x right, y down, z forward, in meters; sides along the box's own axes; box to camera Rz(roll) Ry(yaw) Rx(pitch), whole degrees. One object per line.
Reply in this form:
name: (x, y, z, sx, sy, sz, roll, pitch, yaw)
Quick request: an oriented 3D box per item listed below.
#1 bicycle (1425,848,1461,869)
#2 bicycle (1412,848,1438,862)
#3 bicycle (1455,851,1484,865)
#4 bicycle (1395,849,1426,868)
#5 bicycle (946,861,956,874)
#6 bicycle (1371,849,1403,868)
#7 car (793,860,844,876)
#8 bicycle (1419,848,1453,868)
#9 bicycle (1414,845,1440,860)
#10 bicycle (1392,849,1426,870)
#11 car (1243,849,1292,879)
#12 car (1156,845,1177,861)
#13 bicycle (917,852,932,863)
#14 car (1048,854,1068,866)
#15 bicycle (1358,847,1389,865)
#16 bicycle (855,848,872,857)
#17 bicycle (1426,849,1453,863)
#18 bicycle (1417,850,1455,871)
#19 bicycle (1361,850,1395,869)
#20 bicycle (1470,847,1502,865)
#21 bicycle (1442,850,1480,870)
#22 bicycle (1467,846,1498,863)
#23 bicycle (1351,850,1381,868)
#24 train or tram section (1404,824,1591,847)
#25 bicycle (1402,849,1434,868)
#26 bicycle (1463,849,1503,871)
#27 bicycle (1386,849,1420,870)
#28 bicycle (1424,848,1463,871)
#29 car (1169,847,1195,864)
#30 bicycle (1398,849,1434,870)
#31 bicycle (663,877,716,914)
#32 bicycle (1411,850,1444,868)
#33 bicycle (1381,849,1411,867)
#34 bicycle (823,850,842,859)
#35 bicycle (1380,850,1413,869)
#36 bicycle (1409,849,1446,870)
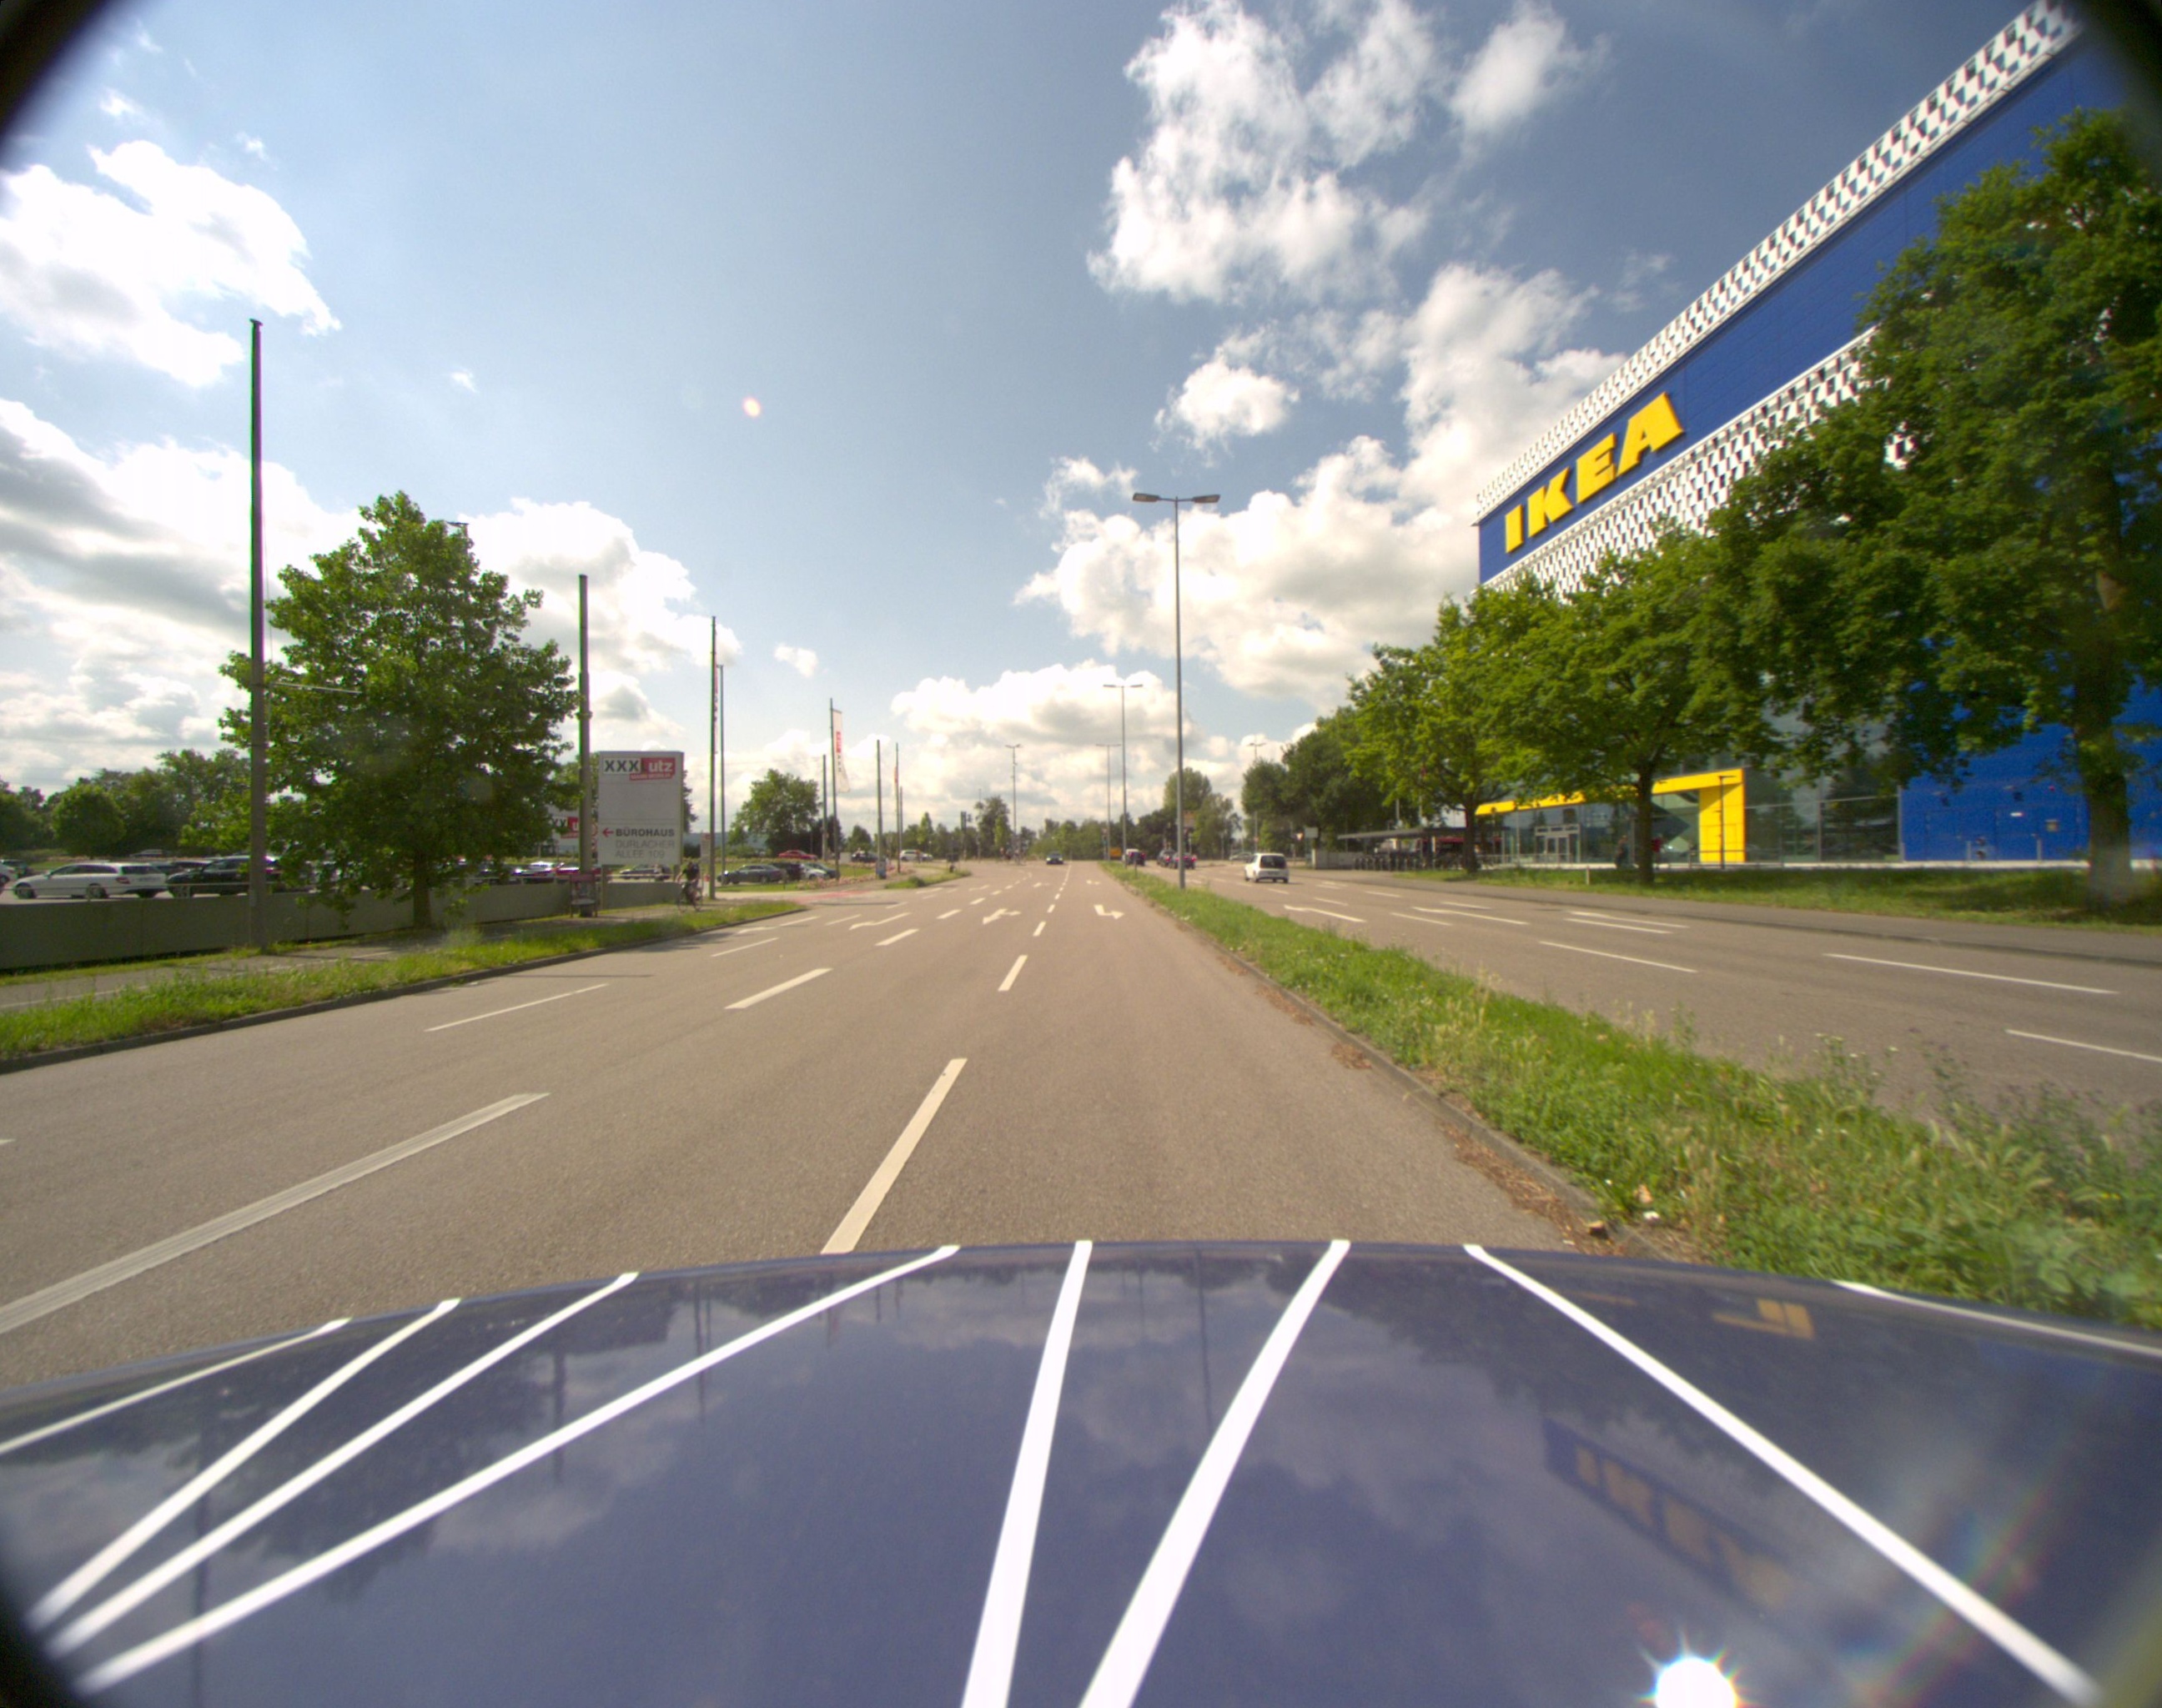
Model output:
bicycle: (23.129, 0.295, 48.572, 1.930, 1.265, 0.630, -1, 0, 0)
bicycle: (28.334, 0.093, 62.531, 1.939, 1.064, 0.528, -1, 1, -5)
bicycle: (28.969, 0.291, 56.650, 1.939, 1.064, 0.529, -1, 1, -4)
bicycle: (23.097, 0.329, 53.279, 1.930, 1.265, 0.630, -1, 0, 0)
bicycle: (-9.994, 1.062, 58.431, 0.518, 0.947, 1.543, -1, 1, 0)
bicycle: (20.931, 0.332, 51.935, 1.930, 1.265, 0.630, -1, 0, 0)
car: (-24.007, 1.262, 69.537, 3.997, 1.410, 1.715, -1, 1, -1)
bicycle: (23.142, 0.260, 49.580, 1.930, 1.265, 0.630, -1, 0, 0)
bicycle: (27.930, -0.096, 61.341, 1.961, 1.165, 0.467, -1, 0, -4)
bicycle: (20.924, 0.344, 48.491, 1.930, 1.265, 0.630, -1, 0, 0)
car: (9.318, 0.462, 38.172, 1.647, 1.420, 3.670, 1, 0, 2)
car: (9.239, -0.109, 82.011, 1.775, 1.606, 3.998, 1, 2, 0)
bicycle: (-17.854, 0.396, 86.630, 1.507, 1.158, 0.620, -1, 0, -26)
car: (-2.577, 0.674, 86.393, 1.797, 1.311, 4.163, -2, 0, 3)
bicycle: (20.881, 0.148, 54.232, 1.930, 1.265, 0.630, -1, 0, 0)
bicycle: (-24.102, -0.178, 84.181, 1.695, 0.955, 0.666, -1, 0, 1)
bicycle: (28.604, 0.134, 60.565, 1.939, 1.064, 0.529, -1, 1, -4)
bicycle: (20.881, 0.405, 44.680, 1.930, 1.176, 0.630, -1, 0, 0)
bicycle: (20.825, 0.369, 53.259, 2.094, 1.265, 0.630, -1, 0, 0)
bicycle: (29.009, 0.129, 54.433, 1.950, 1.236, 0.597, -1, 1, -4)
bicycle: (22.887, 0.354, 45.789, 1.930, 1.172, 0.630, -1, 0, 0)
bicycle: (29.124, 0.031, 55.118, 1.939, 1.202, 0.529, -1, 1, -4)
bicycle: (20.848, 0.347, 55.578, 1.930, 1.265, 0.630, -1, 0, 0)
train or tram section: (60.727, -2.644, 111.289, 25.114, 3.014, 4.530, 1, 0, -1)
bicycle: (23.036, 0.285, 51.956, 1.930, 1.265, 0.630, -1, 0, 0)
bicycle: (23.149, 0.338, 43.752, 1.930, 1.177, 0.630, -1, 0, 0)
bicycle: (20.988, 0.355, 49.562, 1.930, 1.265, 0.630, -1, 0, 0)
bicycle: (20.798, 0.324, 43.586, 1.930, 1.265, 0.630, -1, 0, 0)
car: (8.842, 0.142, 67.026, 1.668, 1.413, 4.518, 1, 1, 0)
bicycle: (20.764, 0.353, 47.099, 1.930, 1.265, 0.630, -1, 0, 0)
bicycle: (-12.315, 1.288, 23.968, 0.625, 1.061, 1.968, 0, 0, 1)
bicycle: (23.060, 0.333, 50.582, 1.930, 1.176, 0.630, -1, 0, 0)
bicycle: (23.021, 0.262, 55.564, 1.930, 1.265, 0.630, -1, 0, 0)
bicycle: (-27.672, 0.009, 84.570, 1.984, 0.955, 0.597, -1, 0, 11)
bicycle: (21.020, 0.366, 50.645, 1.930, 1.265, 0.630, -1, 0, 0)
bicycle: (20.873, 0.334, 45.833, 1.930, 1.265, 0.630, -1, 0, 0)
